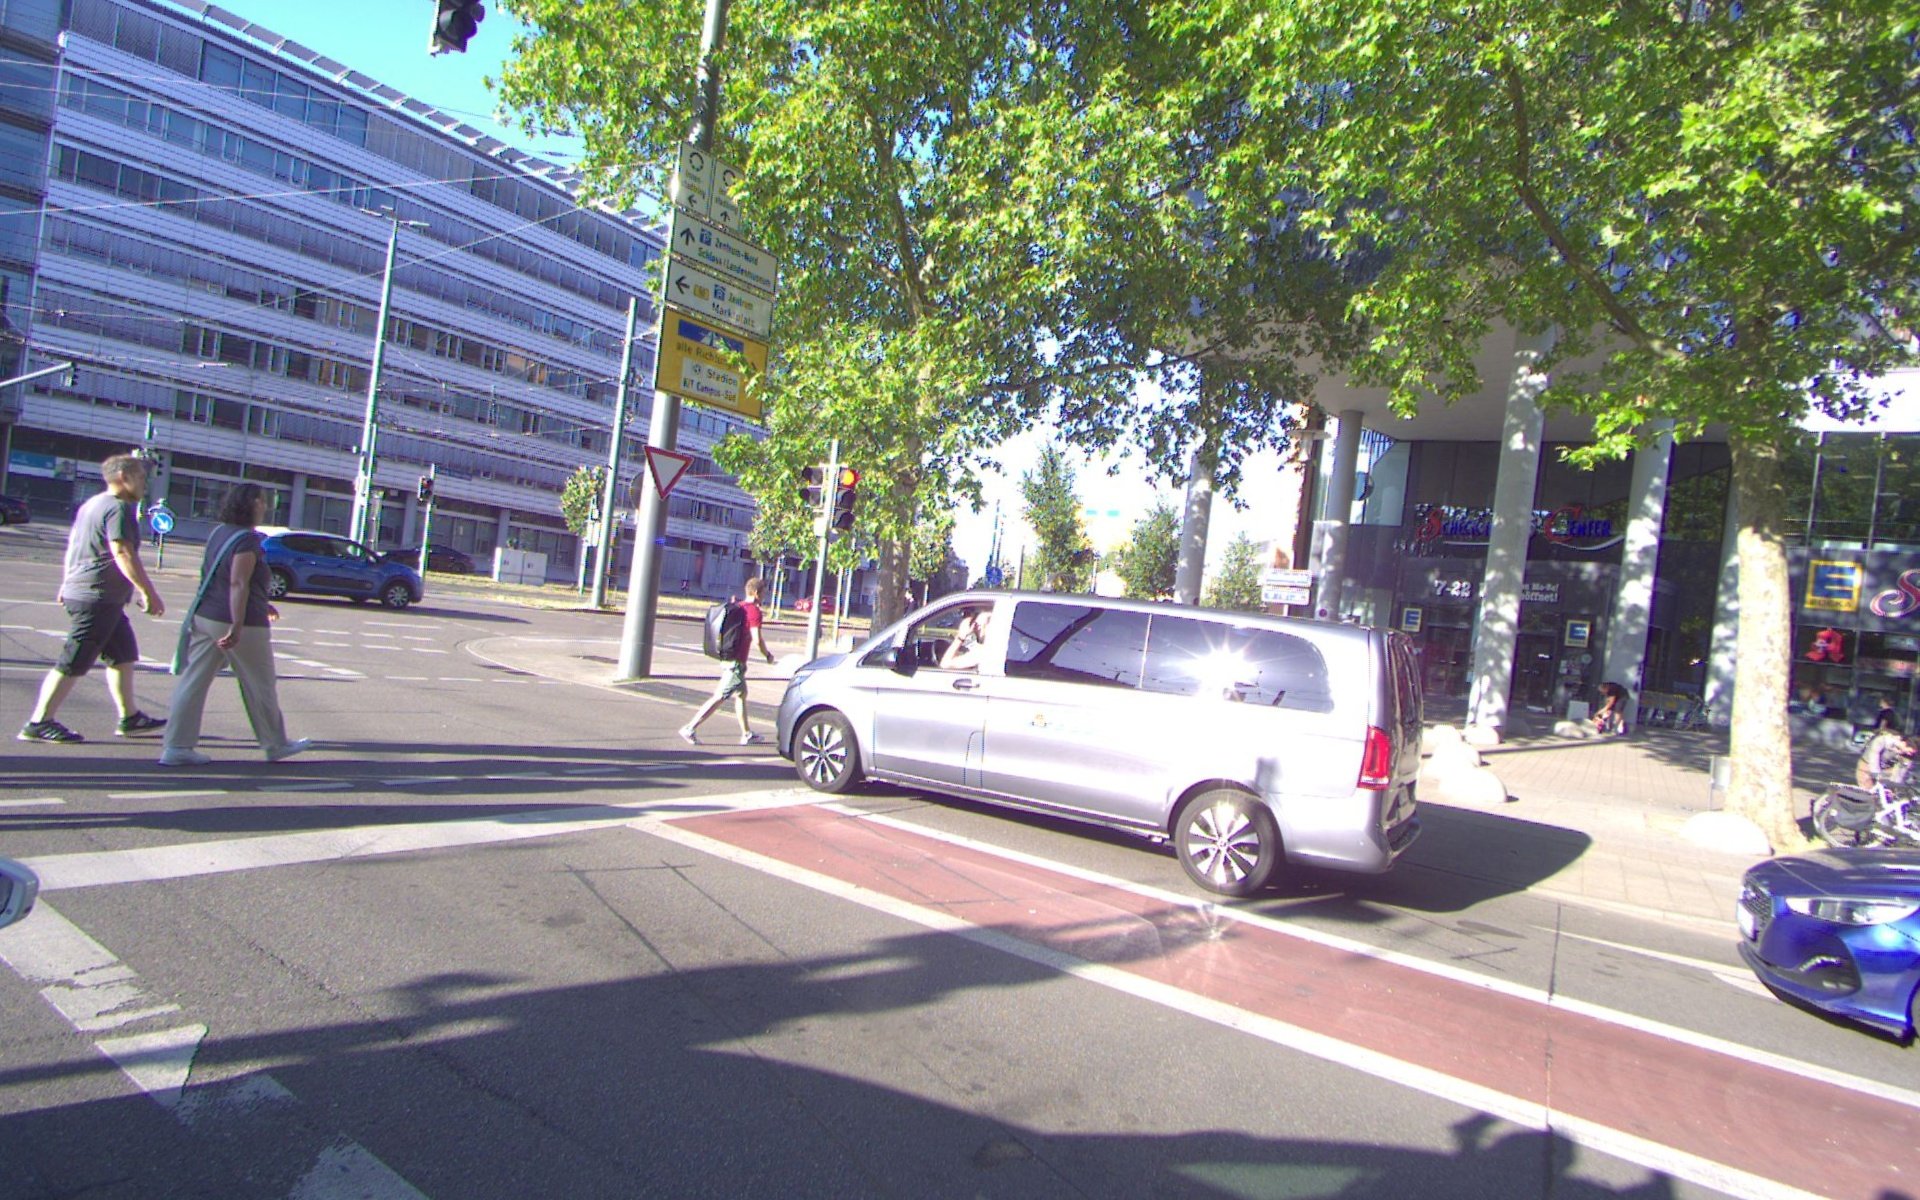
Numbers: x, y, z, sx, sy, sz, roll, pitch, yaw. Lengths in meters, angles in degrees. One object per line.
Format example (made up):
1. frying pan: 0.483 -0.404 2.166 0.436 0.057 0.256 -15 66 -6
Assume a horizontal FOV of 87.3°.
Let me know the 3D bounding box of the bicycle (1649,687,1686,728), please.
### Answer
1. bicycle: 21.880 3.312 31.110 0.709 1.142 1.912 7 0 39

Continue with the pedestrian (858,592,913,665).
1. pedestrian: -1.859 0.715 25.151 0.855 1.701 0.845 7 -1 39

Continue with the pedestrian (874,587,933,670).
1. pedestrian: -1.340 0.683 23.974 0.855 1.841 0.845 7 -1 39

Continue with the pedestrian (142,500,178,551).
1. pedestrian: -28.647 -2.676 36.024 0.549 1.701 0.719 7 -1 39

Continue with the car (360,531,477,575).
1. car: -24.472 -2.094 45.588 1.768 1.409 4.241 7 0 36

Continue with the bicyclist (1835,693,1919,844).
1. bicyclist: 12.214 2.185 13.127 0.744 1.790 0.845 6 1 -31

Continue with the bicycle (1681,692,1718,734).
1. bicycle: 22.546 3.448 30.659 0.709 1.142 1.912 7 0 39

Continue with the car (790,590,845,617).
1. car: -10.289 0.259 72.640 1.768 1.484 3.595 7 0 37

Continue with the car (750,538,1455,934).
1. car: 0.975 0.811 8.082 5.053 1.988 1.997 7 -2 32

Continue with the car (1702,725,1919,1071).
1. car: 6.293 1.707 4.791 4.147 1.482 1.767 7 0 32

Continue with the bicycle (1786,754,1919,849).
1. bicycle: 12.217 2.675 13.036 0.661 0.945 2.167 7 0 -30

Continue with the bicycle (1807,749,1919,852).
1. bicycle: 11.461 2.494 12.493 0.393 1.038 1.305 6 1 -42

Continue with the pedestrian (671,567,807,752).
1. pedestrian: -2.228 0.611 10.253 0.617 1.735 1.076 7 -1 28

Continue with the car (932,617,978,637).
1. car: -0.398 2.316 86.025 1.943 1.364 3.992 7 0 32

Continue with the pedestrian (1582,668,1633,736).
1. pedestrian: 17.296 2.719 26.889 0.952 1.662 0.864 7 1 31

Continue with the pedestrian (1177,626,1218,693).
1. pedestrian: 6.257 1.570 26.502 0.694 1.662 0.775 7 1 27

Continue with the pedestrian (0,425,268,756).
1. pedestrian: -5.464 -0.038 6.536 0.818 1.915 1.149 7 -1 25

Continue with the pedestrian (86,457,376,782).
1. pedestrian: -4.554 0.135 6.353 0.744 1.827 1.075 7 -1 25

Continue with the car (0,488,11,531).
1. car: -34.747 -3.352 33.439 1.762 1.452 4.253 7 0 22

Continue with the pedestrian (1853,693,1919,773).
1. pedestrian: 23.548 3.377 25.589 0.990 1.867 0.844 6 1 -33

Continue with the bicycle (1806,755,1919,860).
1. bicycle: 11.135 2.503 12.123 0.393 1.038 1.305 6 1 -42

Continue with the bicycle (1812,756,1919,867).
1. bicycle: 10.566 2.395 11.151 1.545 1.038 0.461 7 1 29

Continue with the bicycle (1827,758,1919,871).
1. bicycle: 10.314 2.350 10.662 1.545 1.038 0.461 7 1 29

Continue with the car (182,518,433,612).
1. car: -13.768 -0.686 21.482 1.965 1.474 3.961 7 0 28
